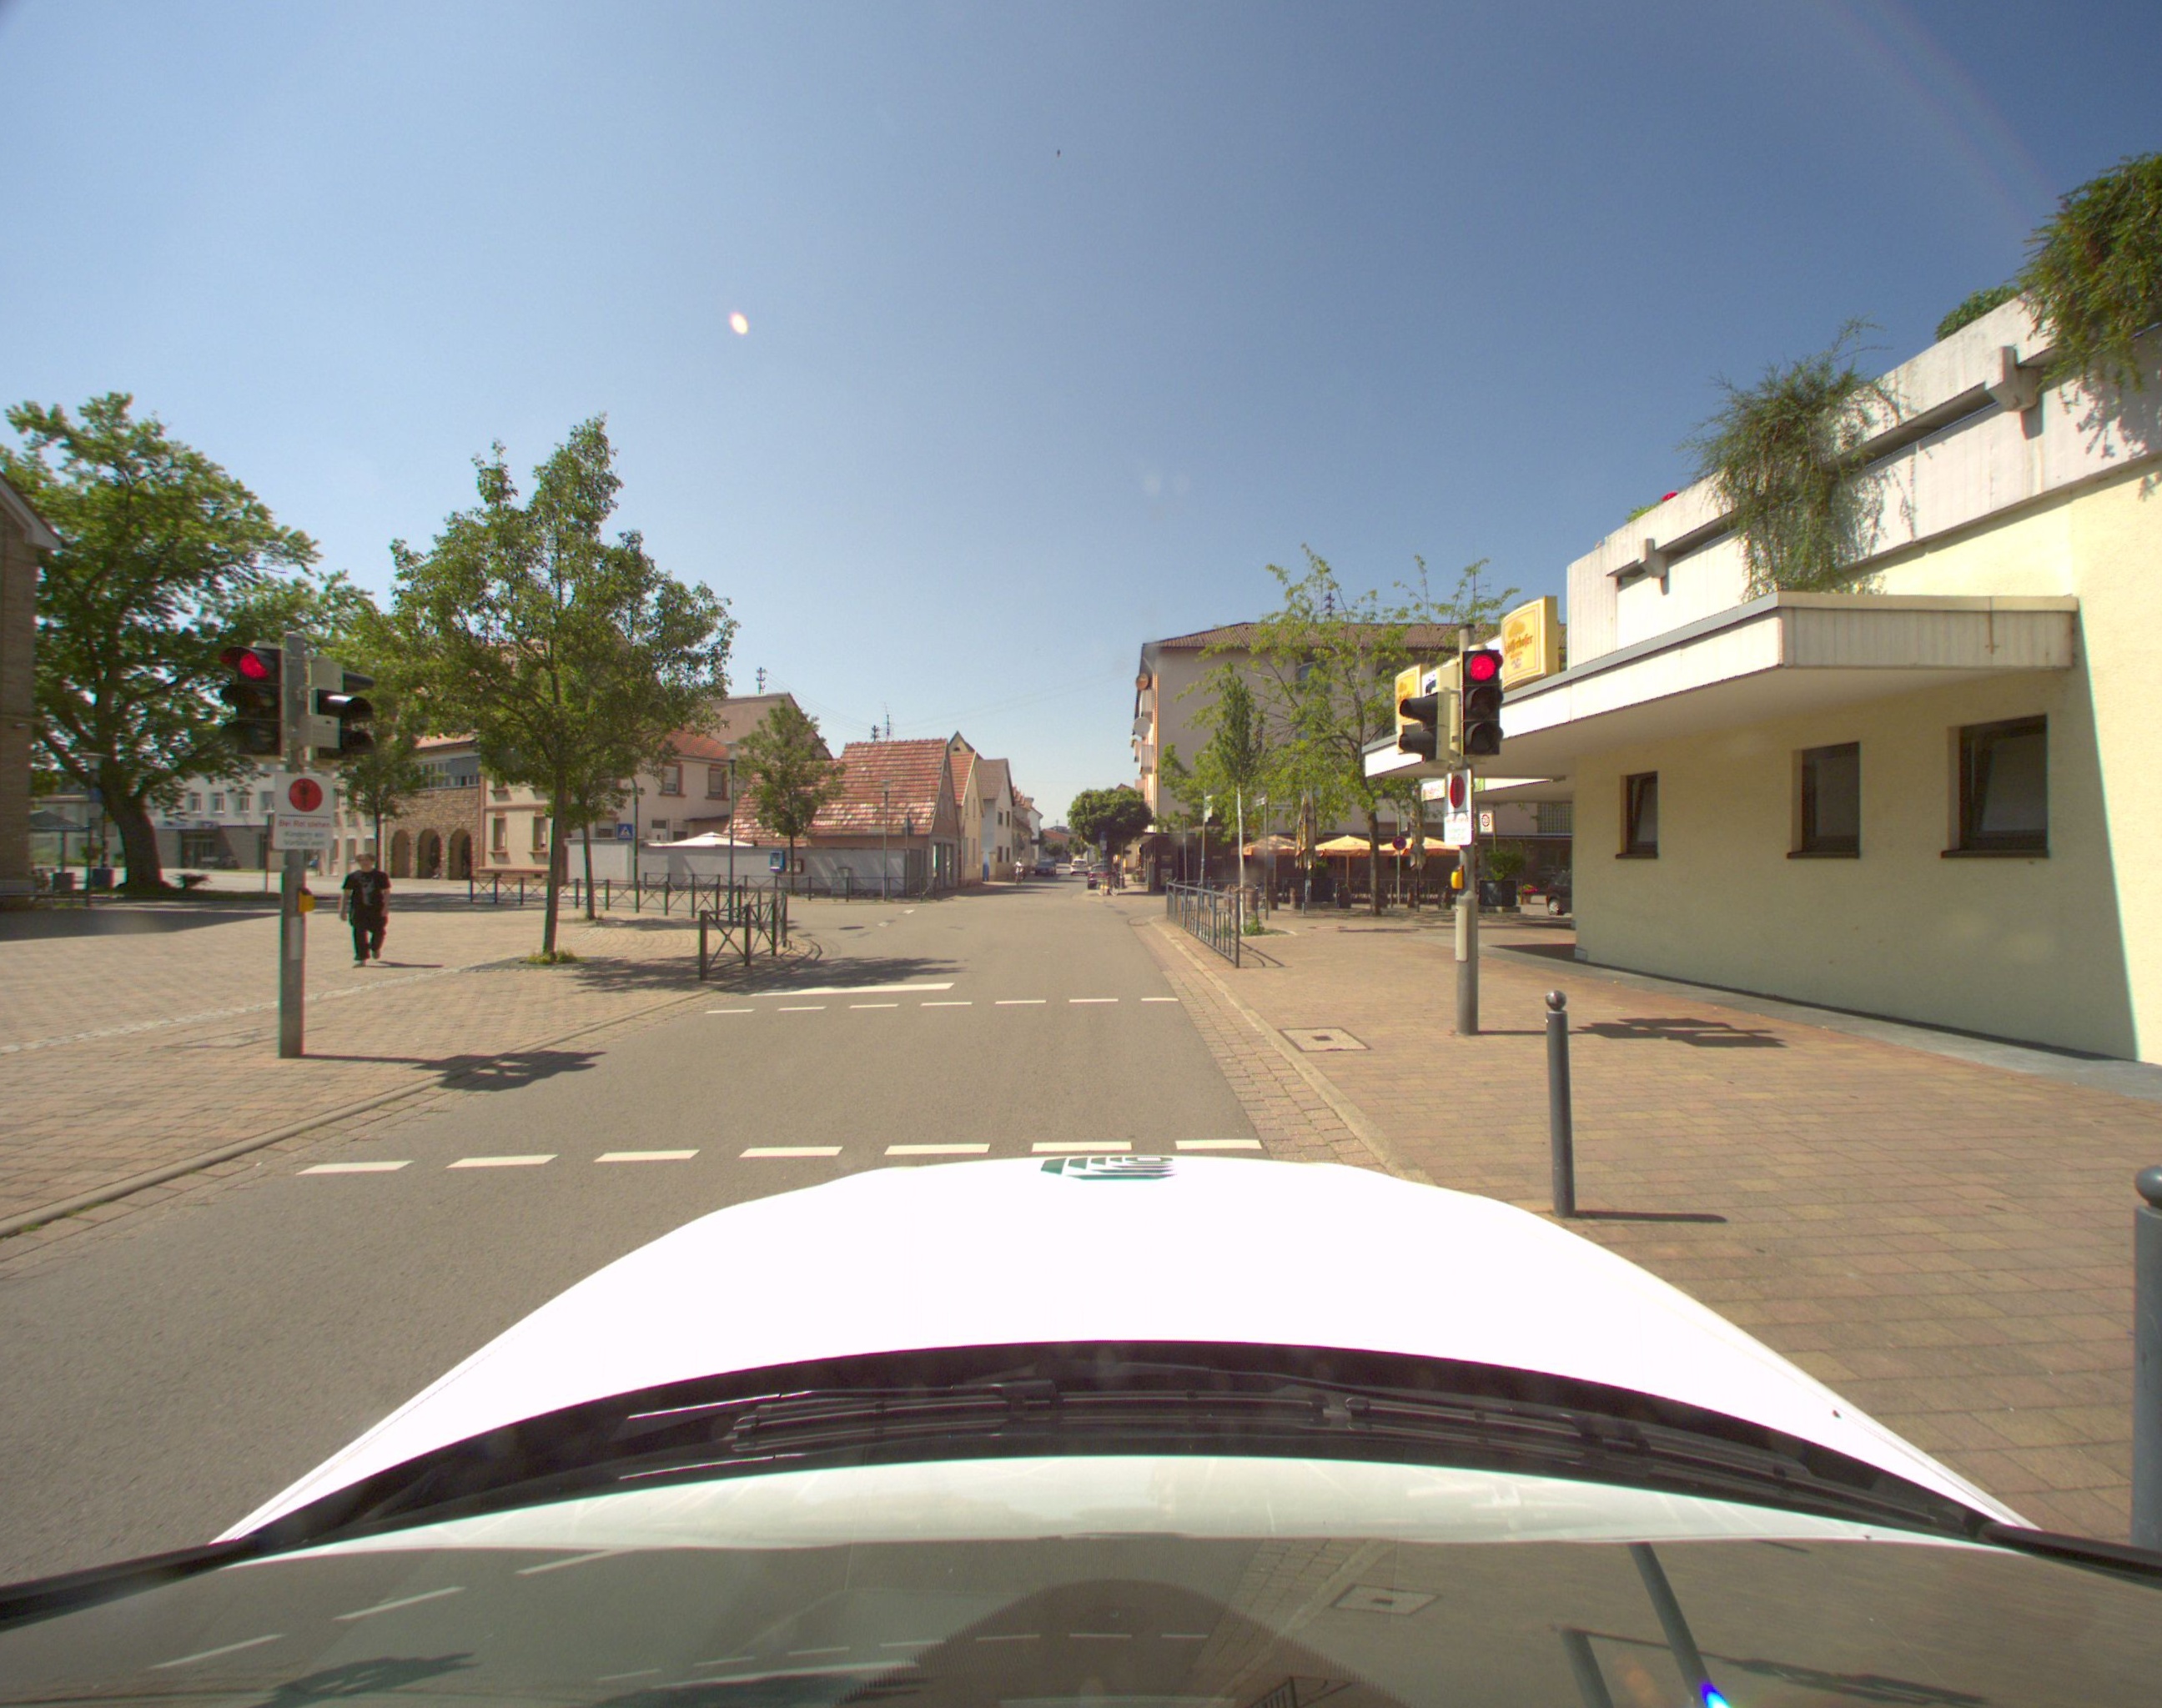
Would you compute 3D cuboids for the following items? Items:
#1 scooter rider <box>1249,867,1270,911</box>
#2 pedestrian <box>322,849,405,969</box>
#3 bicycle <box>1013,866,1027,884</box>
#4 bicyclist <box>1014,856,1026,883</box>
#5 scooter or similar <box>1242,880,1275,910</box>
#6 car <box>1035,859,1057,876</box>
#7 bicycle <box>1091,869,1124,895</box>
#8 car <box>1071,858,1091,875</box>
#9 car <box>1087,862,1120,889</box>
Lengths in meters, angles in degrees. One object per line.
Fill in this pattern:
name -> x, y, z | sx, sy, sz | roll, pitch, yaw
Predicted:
scooter rider -> 5.272, 1.026, 24.058 | 0.418, 1.286, 0.514 | 0, -1, -19
pedestrian -> -10.363, 0.771, 11.798 | 0.818, 1.655, 0.841 | 2, -2, -40
bicycle -> -3.958, 1.369, 52.935 | 0.671, 1.094, 1.896 | -1, -1, 2
bicyclist -> -3.956, 0.992, 52.909 | 0.666, 1.691, 0.762 | -1, -1, 1
scooter or similar -> 5.252, 1.211, 24.079 | 0.890, 0.873, 0.377 | 0, -1, -19
car -> -3.362, 1.279, 78.454 | 1.707, 1.517, 3.789 | 0, -1, 3
bicycle -> 1.250, 1.302, 38.732 | 0.530, 1.193, 1.655 | 1, -1, -42
car -> 0.056, 1.197, 81.223 | 1.826, 1.652, 4.002 | 0, -1, 3
car -> 1.363, 1.213, 47.510 | 1.797, 1.501, 4.003 | 0, 0, 3
